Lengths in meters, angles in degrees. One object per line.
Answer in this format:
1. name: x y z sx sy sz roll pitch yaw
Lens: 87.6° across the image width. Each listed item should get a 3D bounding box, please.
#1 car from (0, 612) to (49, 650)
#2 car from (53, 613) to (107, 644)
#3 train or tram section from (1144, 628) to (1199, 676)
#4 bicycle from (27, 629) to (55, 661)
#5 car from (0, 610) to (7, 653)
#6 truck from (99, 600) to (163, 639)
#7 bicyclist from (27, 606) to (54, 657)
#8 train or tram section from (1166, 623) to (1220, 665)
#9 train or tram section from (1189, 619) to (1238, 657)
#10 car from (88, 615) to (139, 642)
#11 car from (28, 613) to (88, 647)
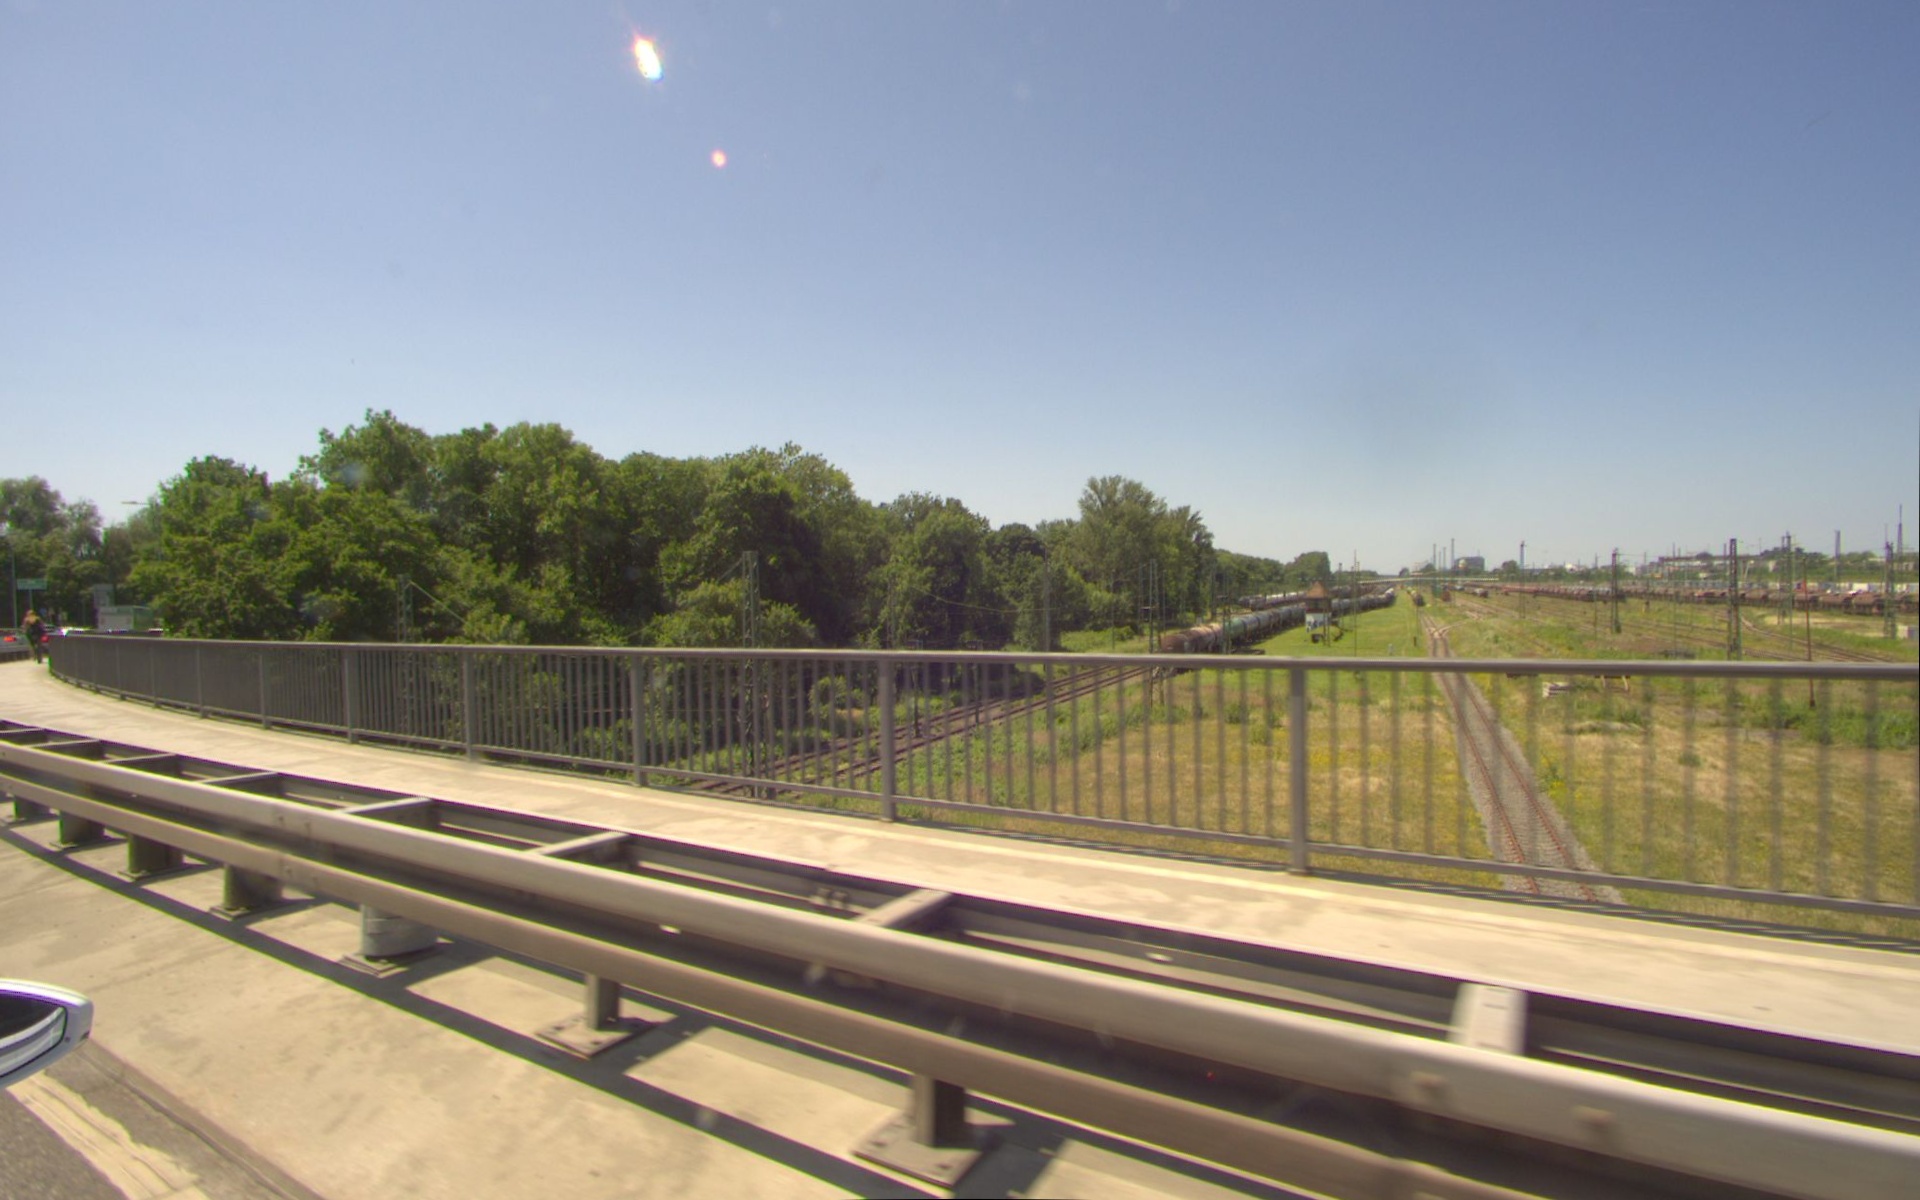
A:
1. car: -46.423 1.509 49.192 1.702 1.826 3.978 1 -1 -31
2. car: -54.201 1.744 61.732 1.702 1.868 3.979 1 -1 -30
3. train or tram section: 24.165 5.778 113.673 3.787 4.365 13.593 -2 0 22
4. bicycle: -31.513 1.538 34.360 0.577 1.049 1.473 -3 1 -39
5. car: -42.762 1.366 43.265 1.705 1.868 3.972 1 -1 -35
6. truck: -64.940 1.552 78.541 2.305 2.911 5.921 0 -1 -24
7. bicyclist: -31.501 1.075 34.312 0.573 1.705 0.723 -3 2 -40
8. train or tram section: 29.534 5.467 126.204 3.790 4.365 13.582 -2 0 25
9. train or tram section: 35.218 5.142 138.509 3.791 4.365 13.579 -2 0 26
10. car: -57.428 1.971 68.003 1.665 1.783 3.986 1 -2 -26
11. car: -50.824 1.659 56.506 1.702 1.868 3.979 1 -1 -30
